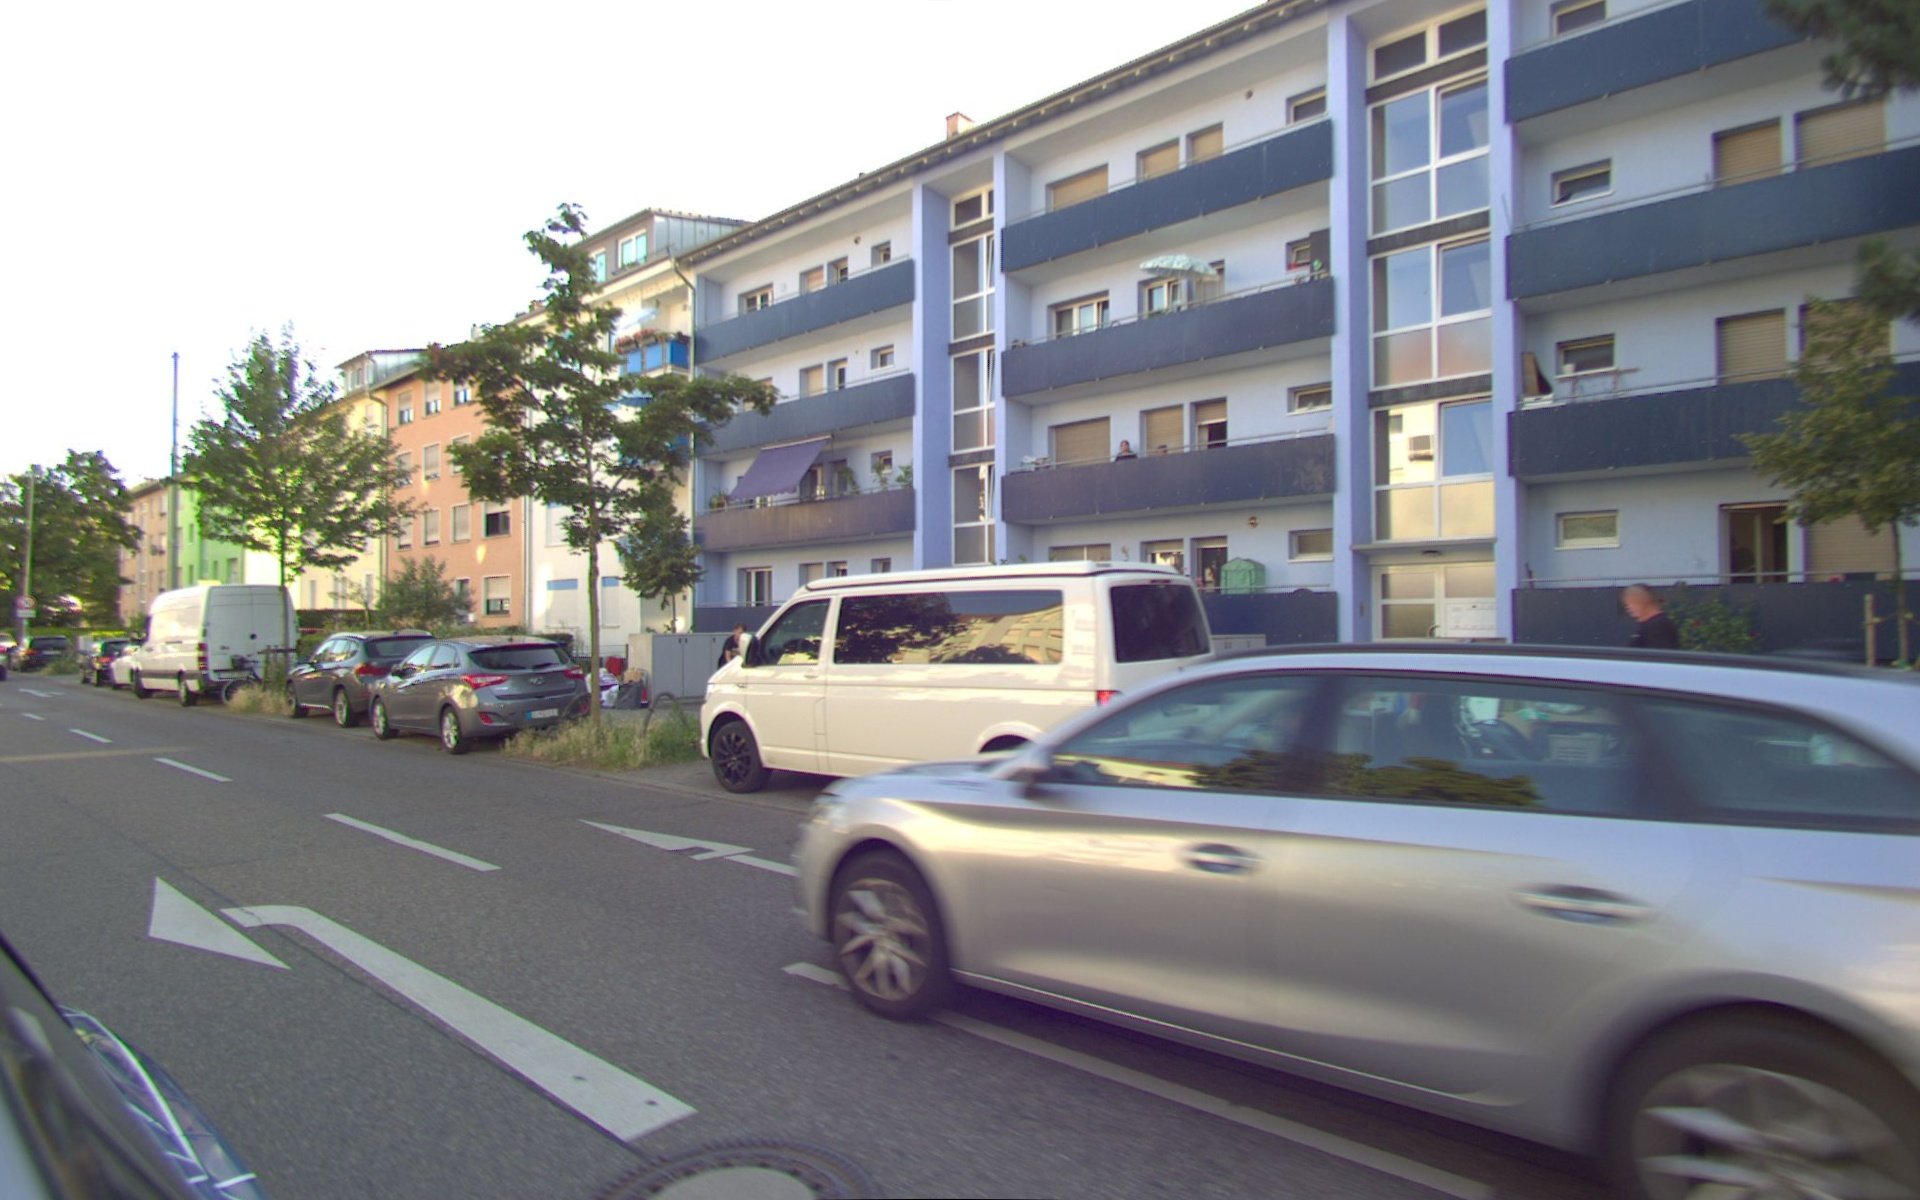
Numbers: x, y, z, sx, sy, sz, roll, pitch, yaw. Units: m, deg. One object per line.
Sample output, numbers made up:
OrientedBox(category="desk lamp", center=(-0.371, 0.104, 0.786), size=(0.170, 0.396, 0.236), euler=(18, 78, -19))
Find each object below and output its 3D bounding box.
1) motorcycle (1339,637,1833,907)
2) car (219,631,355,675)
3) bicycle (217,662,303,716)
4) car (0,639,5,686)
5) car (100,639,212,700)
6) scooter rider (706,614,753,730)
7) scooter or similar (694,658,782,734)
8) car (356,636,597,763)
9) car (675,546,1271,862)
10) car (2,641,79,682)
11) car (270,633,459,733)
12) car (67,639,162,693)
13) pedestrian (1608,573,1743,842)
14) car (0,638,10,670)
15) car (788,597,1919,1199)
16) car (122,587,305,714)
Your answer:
OrientedBox(category="motorcycle", center=(3.344, 0.830, 5.759), size=(0.649, 1.213, 2.339), euler=(1, -3, -28))
OrientedBox(category="car", center=(-25.849, 2.010, 38.955), size=(1.915, 1.423, 3.946), euler=(-2, 0, 40))
OrientedBox(category="bicycle", center=(-14.899, 1.879, 21.552), size=(1.454, 1.022, 0.440), euler=(-1, -1, -42))
OrientedBox(category="car", center=(-33.071, 2.040, 33.320), size=(3.965, 1.506, 1.764), euler=(-1, -3, 38))
OrientedBox(category="car", center=(-22.580, 1.894, 28.368), size=(4.056, 1.503, 1.689), euler=(-2, 0, 41))
OrientedBox(category="scooter rider", center=(-3.367, 1.040, 14.789), size=(0.534, 1.643, 0.458), euler=(-3, -3, 45))
OrientedBox(category="scooter or similar", center=(-3.239, 1.362, 14.680), size=(1.590, 1.022, 0.458), euler=(-2, -3, 45))
OrientedBox(category="car", center=(-6.921, 1.284, 14.284), size=(4.143, 1.495, 1.674), euler=(-2, -2, 43))
OrientedBox(category="car", center=(-0.182, 0.743, 8.974), size=(5.296, 2.046, 1.850), euler=(-2, -1, 40))
OrientedBox(category="car", center=(-37.287, 2.450, 41.005), size=(4.585, 1.516, 1.760), euler=(-2, -2, 40))
OrientedBox(category="car", center=(-10.671, 1.386, 17.992), size=(4.472, 1.555, 1.654), euler=(-2, -2, 42))
OrientedBox(category="car", center=(-26.254, 2.004, 31.384), size=(3.810, 1.484, 1.596), euler=(-2, 0, 40))
OrientedBox(category="pedestrian", center=(5.097, 0.723, 7.209), size=(0.695, 1.784, 0.655), euler=(-2, -2, 40))
OrientedBox(category="car", center=(-50.164, 2.783, 52.245), size=(2.862, 1.629, 1.482), euler=(-2, -2, 44))
OrientedBox(category="car", center=(1.516, 0.830, 3.340), size=(4.306, 1.491, 1.721), euler=(-2, -5, 40))
OrientedBox(category="car", center=(-17.945, 1.152, 24.128), size=(7.100, 2.636, 1.973), euler=(-2, -1, 41))
